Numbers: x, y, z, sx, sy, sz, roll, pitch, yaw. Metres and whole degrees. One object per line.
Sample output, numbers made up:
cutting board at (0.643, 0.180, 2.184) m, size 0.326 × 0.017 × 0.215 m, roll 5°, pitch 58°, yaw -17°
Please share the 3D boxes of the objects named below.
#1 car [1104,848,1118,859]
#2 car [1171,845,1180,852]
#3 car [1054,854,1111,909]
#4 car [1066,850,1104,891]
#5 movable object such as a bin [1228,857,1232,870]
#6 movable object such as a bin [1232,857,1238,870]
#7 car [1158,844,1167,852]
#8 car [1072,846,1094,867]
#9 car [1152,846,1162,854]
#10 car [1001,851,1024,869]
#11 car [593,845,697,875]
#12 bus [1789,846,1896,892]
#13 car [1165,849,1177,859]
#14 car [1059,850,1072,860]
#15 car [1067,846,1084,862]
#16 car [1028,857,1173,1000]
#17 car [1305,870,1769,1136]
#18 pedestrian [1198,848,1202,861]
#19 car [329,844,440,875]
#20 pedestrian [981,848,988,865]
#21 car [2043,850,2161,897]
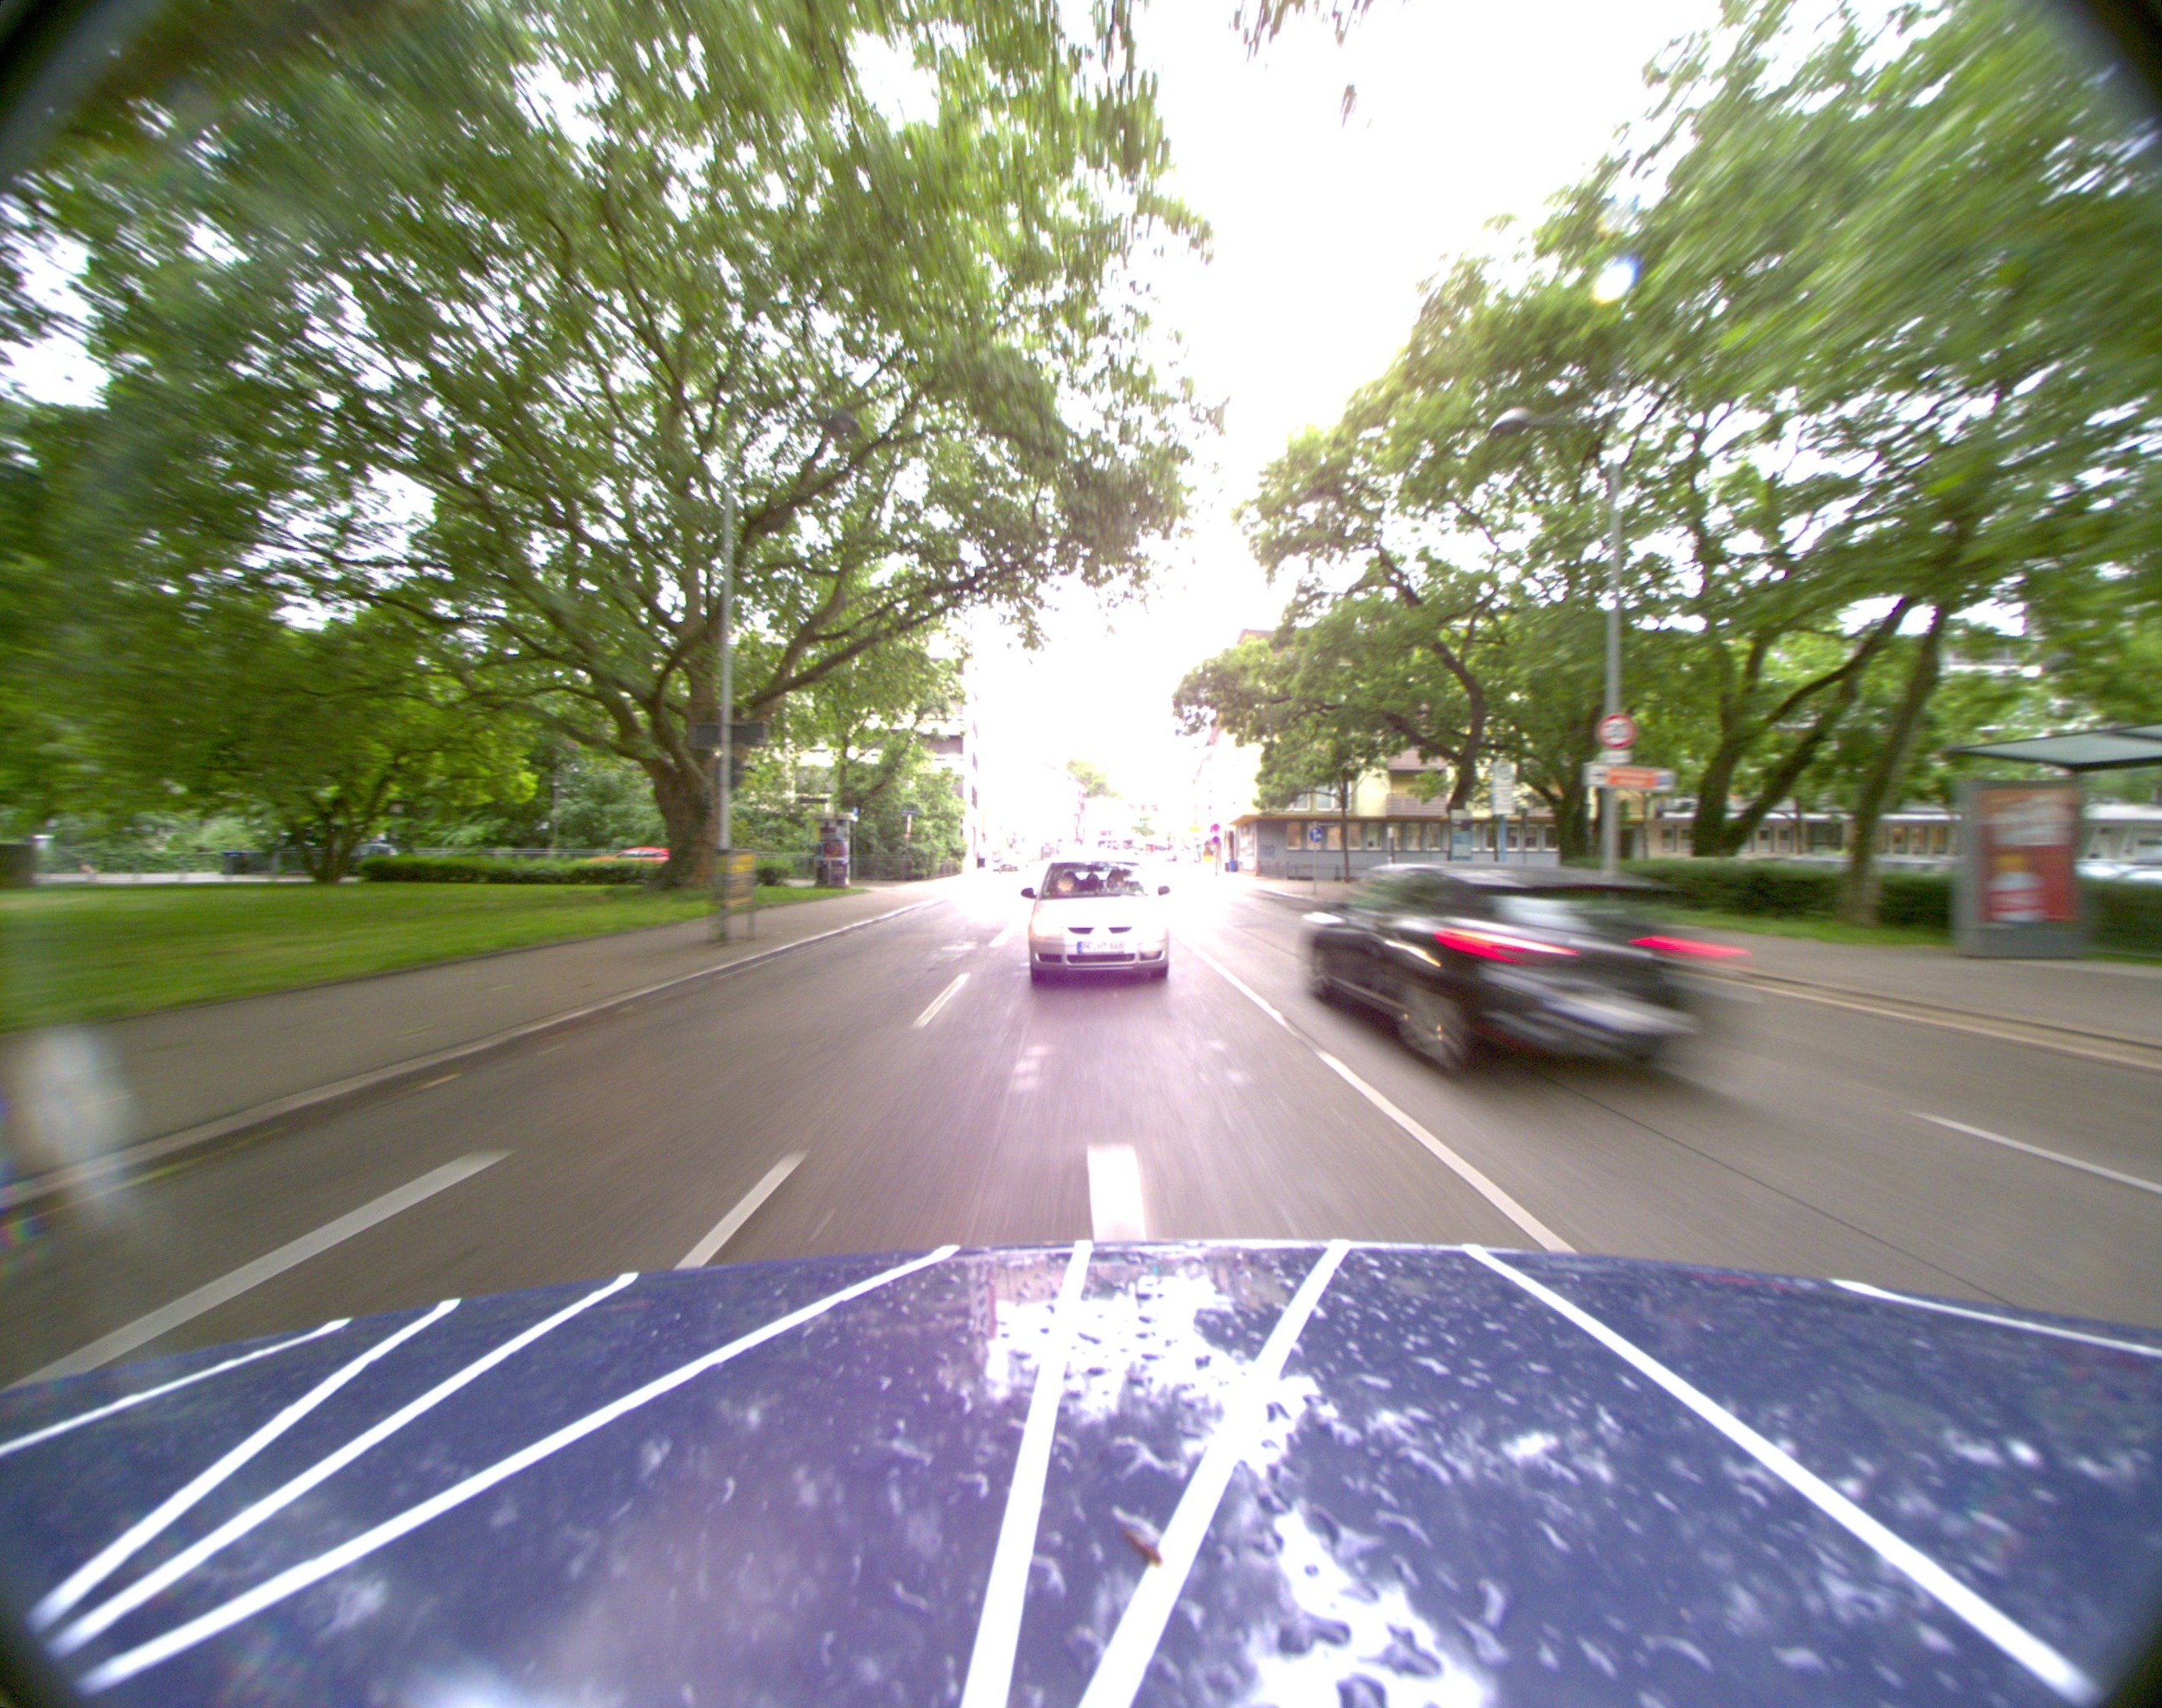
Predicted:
car at (3.993, -0.083, 102.378) m, size 1.702 × 1.433 × 3.896 m, roll 1°, pitch 0°, yaw 0°
car at (22.454, -1.355, 180.071) m, size 1.867 × 1.648 × 4.001 m, roll 1°, pitch 0°, yaw 4°
car at (0.098, 0.780, 23.516) m, size 1.590 × 1.540 × 3.771 m, roll 1°, pitch 0°, yaw 2°
car at (0.140, 0.703, 33.963) m, size 1.584 × 1.705 × 3.648 m, roll 1°, pitch 0°, yaw -1°
movable object such as a bin at (12.102, 0.794, 61.696) m, size 0.338 × 1.023 × 0.353 m, roll 1°, pitch 1°, yaw 7°
movable object such as a bin at (12.493, 0.793, 61.728) m, size 0.415 × 1.023 × 0.353 m, roll 1°, pitch 1°, yaw 7°
car at (19.349, -1.329, 181.201) m, size 1.998 × 1.841 × 4.001 m, roll 1°, pitch 0°, yaw 4°
car at (0.177, 0.196, 70.125) m, size 1.935 × 1.817 × 3.999 m, roll 1°, pitch 1°, yaw -1°
car at (17.581, -0.946, 175.786) m, size 1.998 × 1.631 × 4.001 m, roll 1°, pitch 0°, yaw 4°
car at (-6.003, 0.526, 66.852) m, size 1.681 × 1.424 × 3.681 m, roll 4°, pitch 0°, yaw 0°
car at (-19.840, 0.258, 34.660) m, size 3.790 × 1.271 × 1.576 m, roll 1°, pitch 1°, yaw -4°
bus at (33.234, 0.651, 33.184) m, size 3.731 × 1.913 × 1.711 m, roll 1°, pitch 1°, yaw -17°
car at (15.982, 0.056, 134.703) m, size 1.889 × 1.707 × 4.001 m, roll 1°, pitch 0°, yaw 4°
car at (-2.311, 0.084, 114.137) m, size 1.802 × 1.433 × 3.896 m, roll 1°, pitch 0°, yaw 0°
car at (-0.689, -0.019, 92.110) m, size 1.935 × 1.817 × 3.999 m, roll 1°, pitch 0°, yaw -1°
car at (0.215, 0.829, 10.023) m, size 1.576 × 1.514 × 3.240 m, roll -1°, pitch 1°, yaw 0°
car at (3.117, 0.894, 6.080) m, size 1.628 × 1.407 × 3.454 m, roll 1°, pitch 0°, yaw 1°
pedestrian at (17.177, 0.057, 109.866) m, size 0.594 × 1.833 × 0.565 m, roll 1°, pitch 1°, yaw 7°
car at (-31.036, 0.228, 33.944) m, size 3.468 × 1.271 × 1.448 m, roll 1°, pitch 1°, yaw -6°
pedestrian at (-8.619, 0.234, 67.842) m, size 0.480 × 1.521 × 0.481 m, roll -2°, pitch 2°, yaw 0°
car at (45.735, 0.872, 33.981) m, size 4.003 × 2.002 × 1.997 m, roll 1°, pitch 1°, yaw -17°
